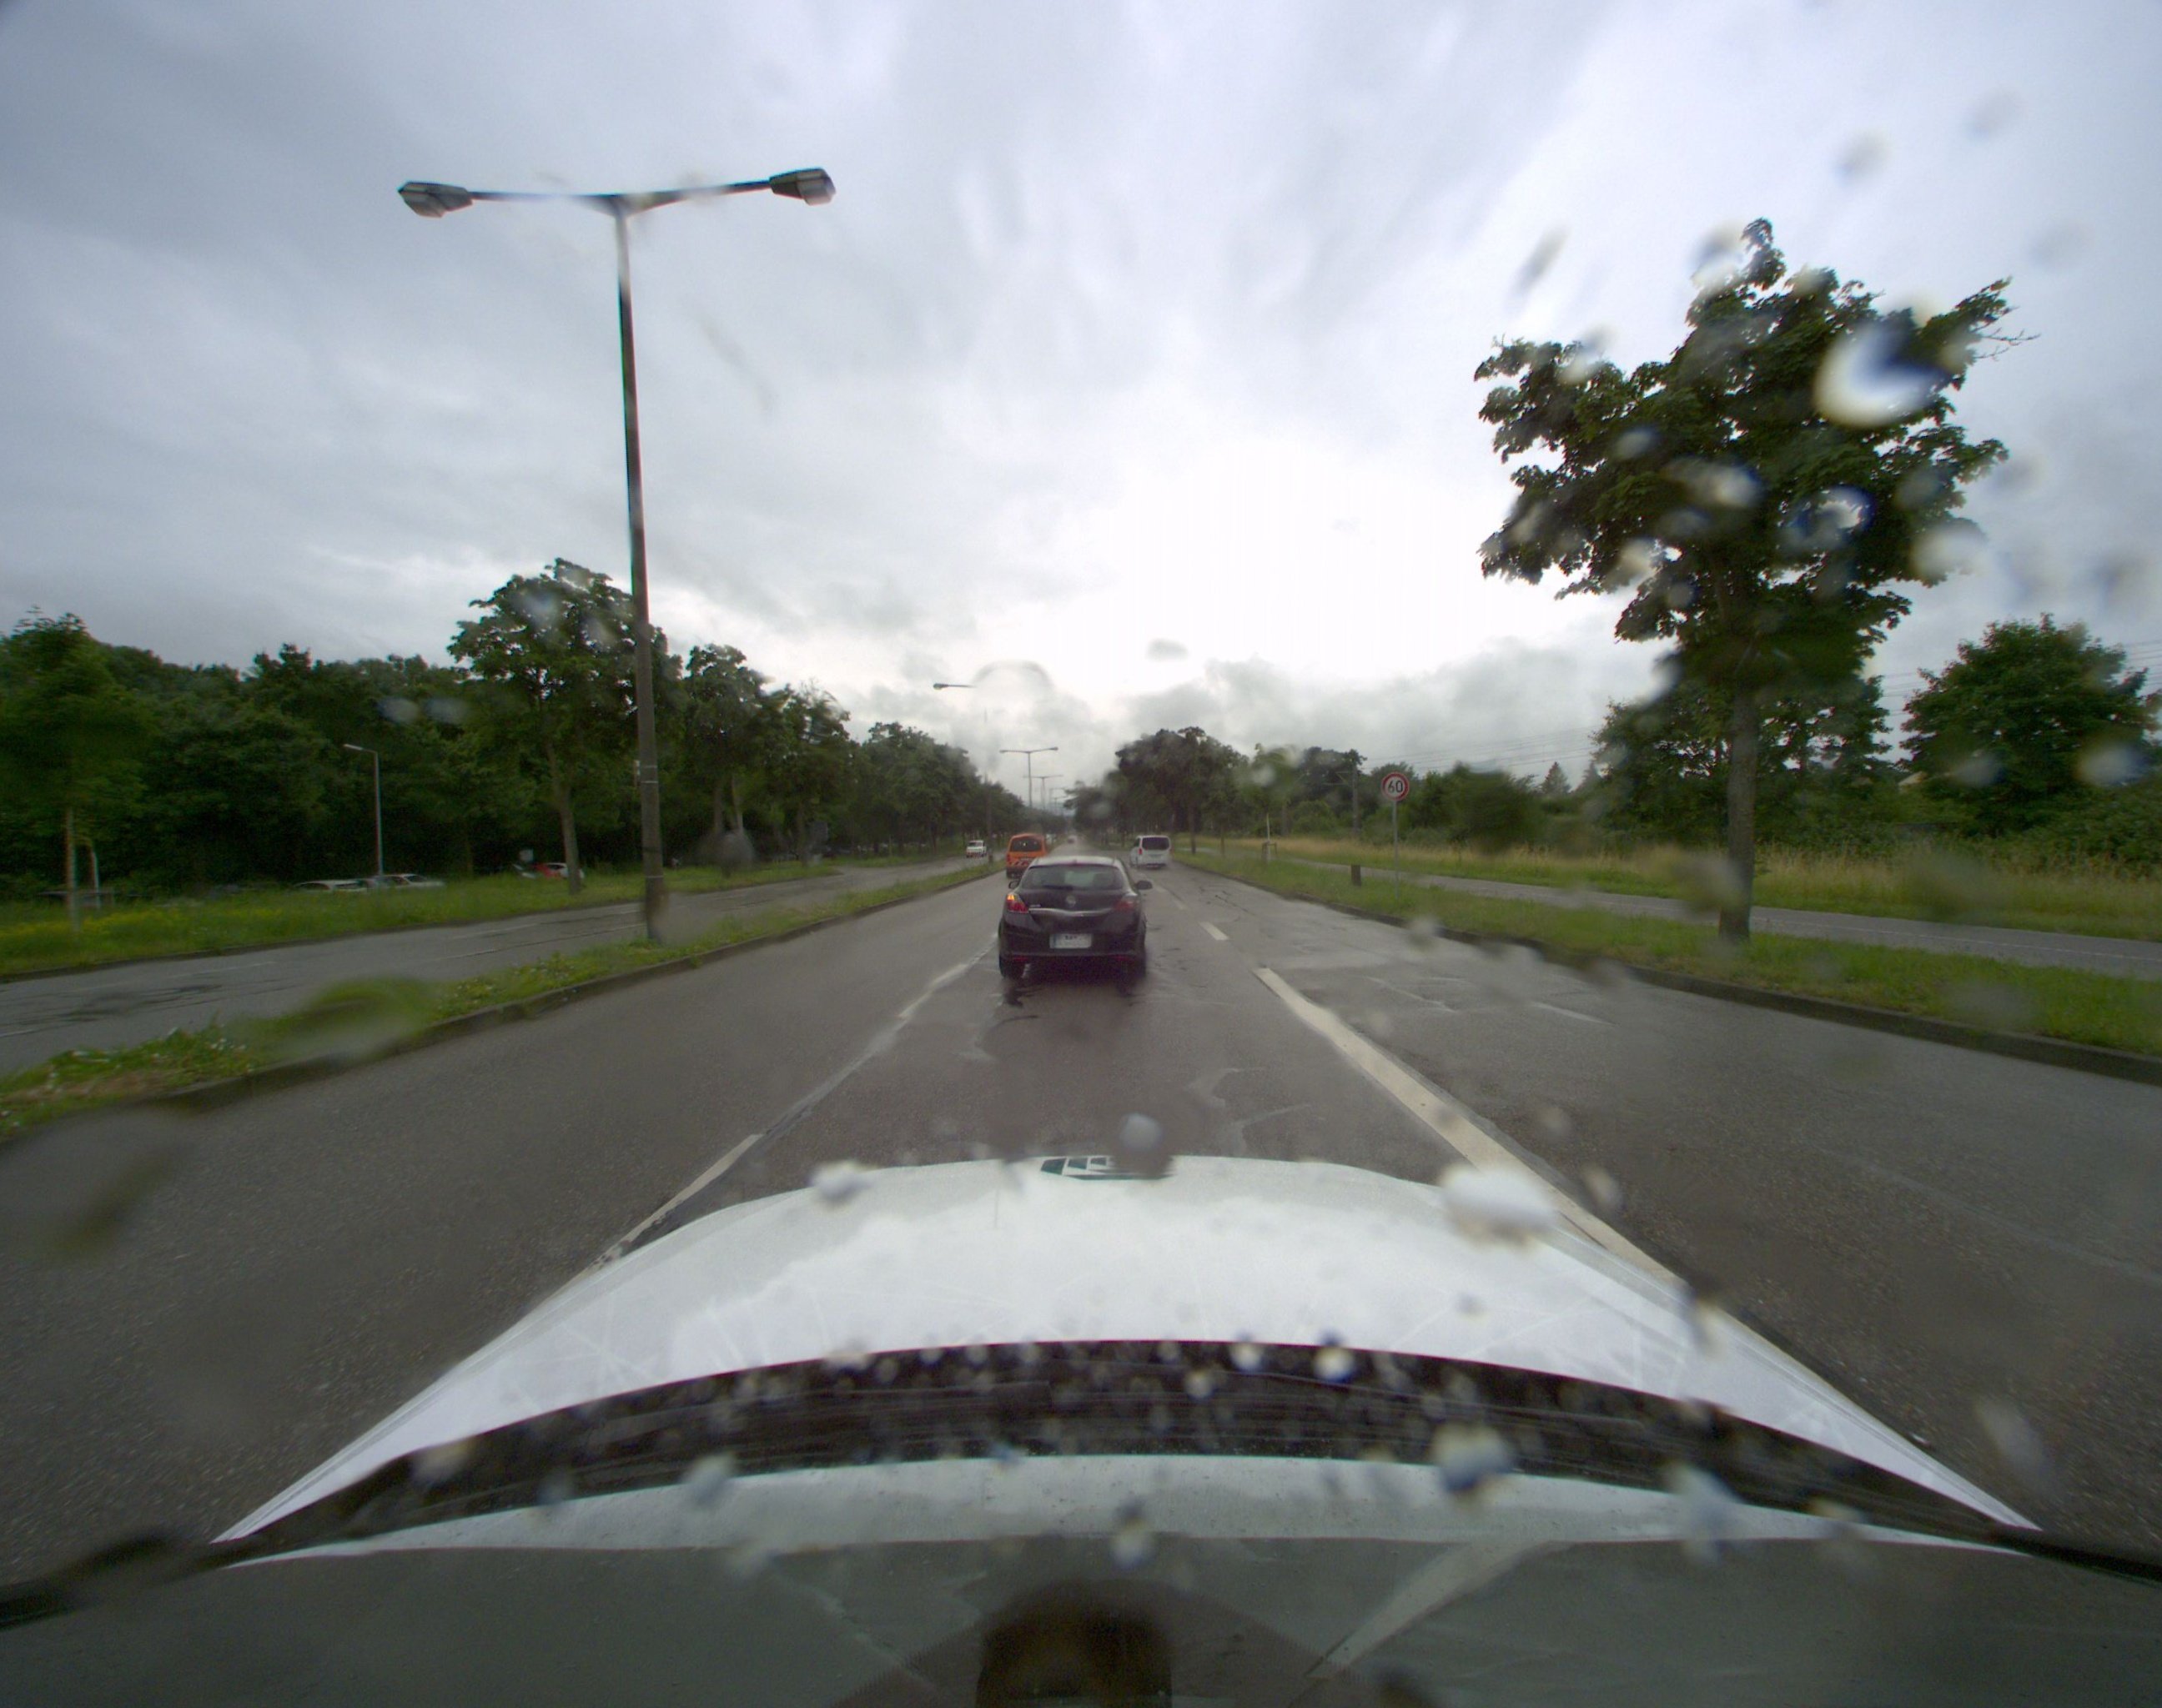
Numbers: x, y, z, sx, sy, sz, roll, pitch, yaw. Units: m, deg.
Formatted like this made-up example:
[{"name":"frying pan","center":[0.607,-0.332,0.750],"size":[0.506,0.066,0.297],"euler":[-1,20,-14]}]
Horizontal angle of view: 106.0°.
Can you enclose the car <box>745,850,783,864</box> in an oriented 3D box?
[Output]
[{"name":"car","center":[-37.729,0.380,96.998],"size":[3.828,1.452,1.523],"euler":[-2,1,-4]}]

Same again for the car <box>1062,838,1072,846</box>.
[{"name":"car","center":[-3.058,-2.692,181.456],"size":[1.985,1.879,4.004],"euler":[-1,0,4]}]

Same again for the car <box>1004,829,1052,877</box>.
[{"name":"car","center":[-2.322,-0.070,36.760],"size":[1.728,2.018,4.850],"euler":[0,1,1]}]

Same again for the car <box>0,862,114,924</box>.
[{"name":"car","center":[-37.374,1.389,28.661],"size":[3.979,2.013,1.997],"euler":[-2,1,-4]}]

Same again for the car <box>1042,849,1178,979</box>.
[{"name":"car","center":[0.432,0.638,10.666],"size":[1.457,1.328,3.762],"euler":[-1,1,4]}]

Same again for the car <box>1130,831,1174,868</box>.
[{"name":"car","center":[3.991,-0.252,46.413],"size":[2.053,1.974,4.607],"euler":[0,0,-1]}]

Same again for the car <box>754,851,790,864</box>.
[{"name":"car","center":[-37.752,0.386,99.606],"size":[3.828,1.452,1.523],"euler":[-2,1,-4]}]

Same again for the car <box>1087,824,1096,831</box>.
[{"name":"car","center":[2.888,-7.609,233.865],"size":[2.508,2.052,5.294],"euler":[1,1,0]}]

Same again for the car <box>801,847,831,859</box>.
[{"name":"car","center":[-37.308,-0.152,114.691],"size":[3.837,1.452,1.519],"euler":[-2,1,-11]}]

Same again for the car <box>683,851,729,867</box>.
[{"name":"car","center":[-37.602,0.453,81.658],"size":[3.828,1.452,1.523],"euler":[-2,1,-4]}]

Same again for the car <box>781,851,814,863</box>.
[{"name":"car","center":[-38.046,0.381,109.405],"size":[3.828,1.452,1.523],"euler":[-2,1,-4]}]

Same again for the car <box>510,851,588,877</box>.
[{"name":"car","center":[-36.734,0.689,56.322],"size":[3.979,1.639,1.909],"euler":[-2,1,-4]}]

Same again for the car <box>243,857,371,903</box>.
[{"name":"car","center":[-37.028,1.214,39.070],"size":[3.979,2.013,1.997],"euler":[-2,1,-4]}]

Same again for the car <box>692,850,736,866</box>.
[{"name":"car","center":[-37.889,0.417,84.099],"size":[3.828,1.452,1.523],"euler":[-2,1,-4]}]

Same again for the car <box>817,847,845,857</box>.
[{"name":"car","center":[-37.315,-0.310,121.650],"size":[3.841,1.452,1.517],"euler":[-2,1,-14]}]

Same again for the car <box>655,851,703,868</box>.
[{"name":"car","center":[-37.702,0.511,76.459],"size":[3.726,1.426,1.486],"euler":[-2,1,-4]}]

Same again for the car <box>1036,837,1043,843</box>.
[{"name":"car","center":[-11.341,-3.726,223.046],"size":[1.714,1.529,3.811],"euler":[-1,2,1]}]

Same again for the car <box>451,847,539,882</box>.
[{"name":"car","center":[-36.859,0.622,51.315],"size":[3.979,2.013,1.997],"euler":[-2,1,-4]}]

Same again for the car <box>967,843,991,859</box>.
[{"name":"car","center":[-10.156,-0.320,81.316],"size":[1.676,1.554,4.003],"euler":[0,1,3]}]

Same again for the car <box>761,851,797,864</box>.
[{"name":"car","center":[-37.773,0.396,101.937],"size":[3.828,1.452,1.523],"euler":[-2,1,-4]}]

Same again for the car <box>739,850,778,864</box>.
[{"name":"car","center":[-37.435,0.384,94.581],"size":[3.828,1.452,1.523],"euler":[-2,1,-4]}]

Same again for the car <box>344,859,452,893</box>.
[{"name":"car","center":[-36.857,1.175,44.021],"size":[3.979,1.618,1.997],"euler":[-1,1,-4]}]
